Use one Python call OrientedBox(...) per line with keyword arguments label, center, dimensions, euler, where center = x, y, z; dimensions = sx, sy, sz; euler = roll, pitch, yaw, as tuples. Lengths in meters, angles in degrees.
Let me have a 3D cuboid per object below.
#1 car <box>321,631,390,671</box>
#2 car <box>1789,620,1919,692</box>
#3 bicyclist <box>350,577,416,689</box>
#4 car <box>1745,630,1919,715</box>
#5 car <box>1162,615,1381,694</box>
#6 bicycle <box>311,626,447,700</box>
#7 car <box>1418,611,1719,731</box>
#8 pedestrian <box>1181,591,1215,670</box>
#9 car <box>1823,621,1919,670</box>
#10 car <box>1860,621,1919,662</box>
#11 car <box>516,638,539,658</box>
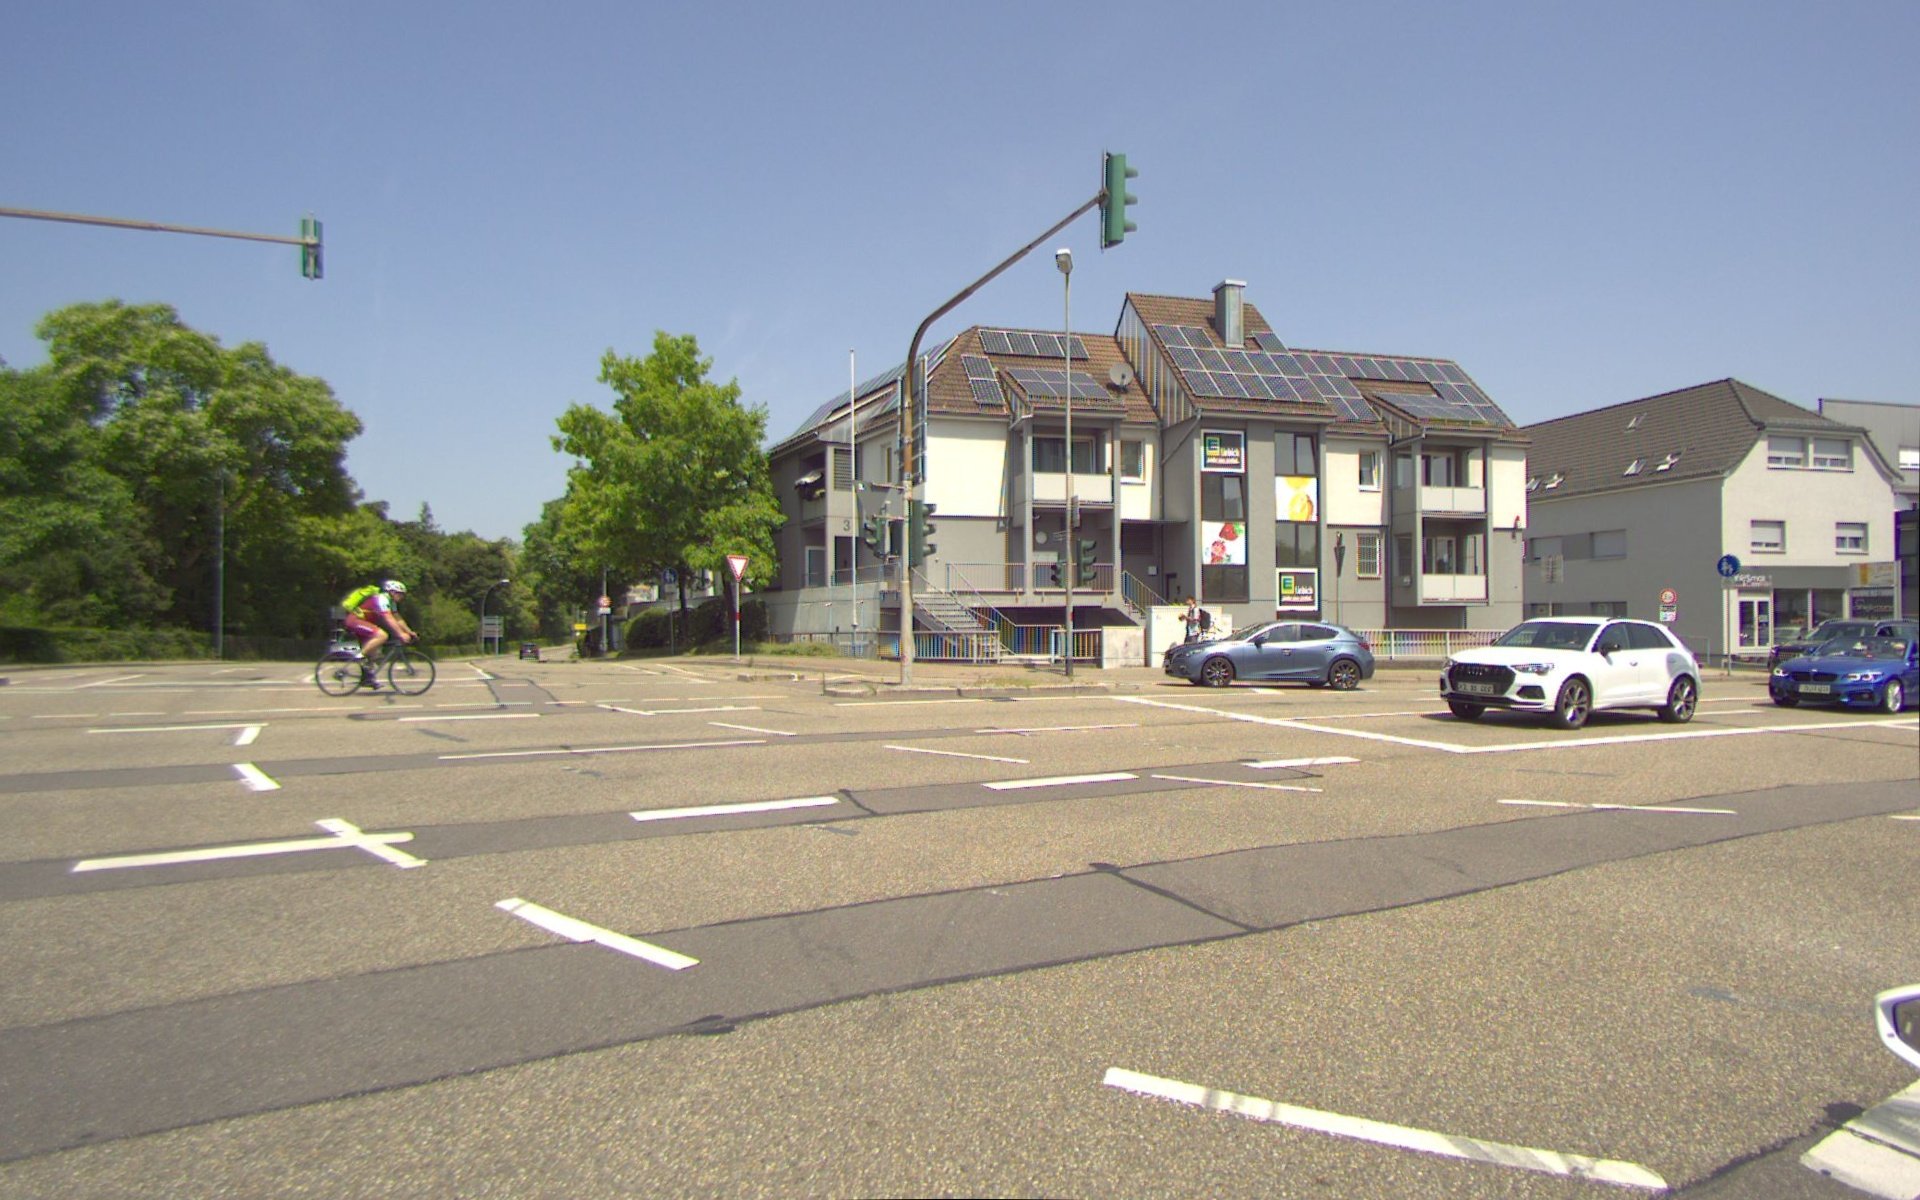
OrientedBox(label="car", center=(-28.682, 2.382, 47.813), dimensions=(1.734, 1.631, 4.743), euler=(2, 0, -18))
OrientedBox(label="car", center=(23.389, 1.353, 25.446), dimensions=(4.532, 1.678, 1.987), euler=(1, -1, -26))
OrientedBox(label="bicyclist", center=(-8.879, 0.487, 15.458), dimensions=(0.813, 1.665, 0.418), euler=(-1, 2, -38))
OrientedBox(label="car", center=(17.016, 1.298, 18.813), dimensions=(4.286, 1.384, 1.858), euler=(1, 0, -24))
OrientedBox(label="car", center=(6.567, 1.126, 21.435), dimensions=(4.187, 1.469, 1.496), euler=(2, 0, 1))
OrientedBox(label="bicycle", center=(-8.911, 0.941, 15.443), dimensions=(1.773, 1.068, 0.417), euler=(1, 1, -38))
OrientedBox(label="car", center=(9.349, 1.024, 15.385), dimensions=(4.496, 1.591, 1.811), euler=(1, 0, -26))
OrientedBox(label="pedestrian", center=(6.193, 0.780, 26.160), dimensions=(0.734, 2.041, 0.499), euler=(0, 1, -32))
OrientedBox(label="car", center=(36.896, 1.779, 39.212), dimensions=(1.823, 1.649, 4.605), euler=(1, 2, -15))
OrientedBox(label="car", center=(39.541, 1.742, 40.452), dimensions=(1.727, 1.517, 4.594), euler=(0, 3, -23))
OrientedBox(label="car", center=(-43.271, 4.808, 100.576), dimensions=(1.971, 1.927, 3.979), euler=(1, -2, -22))
